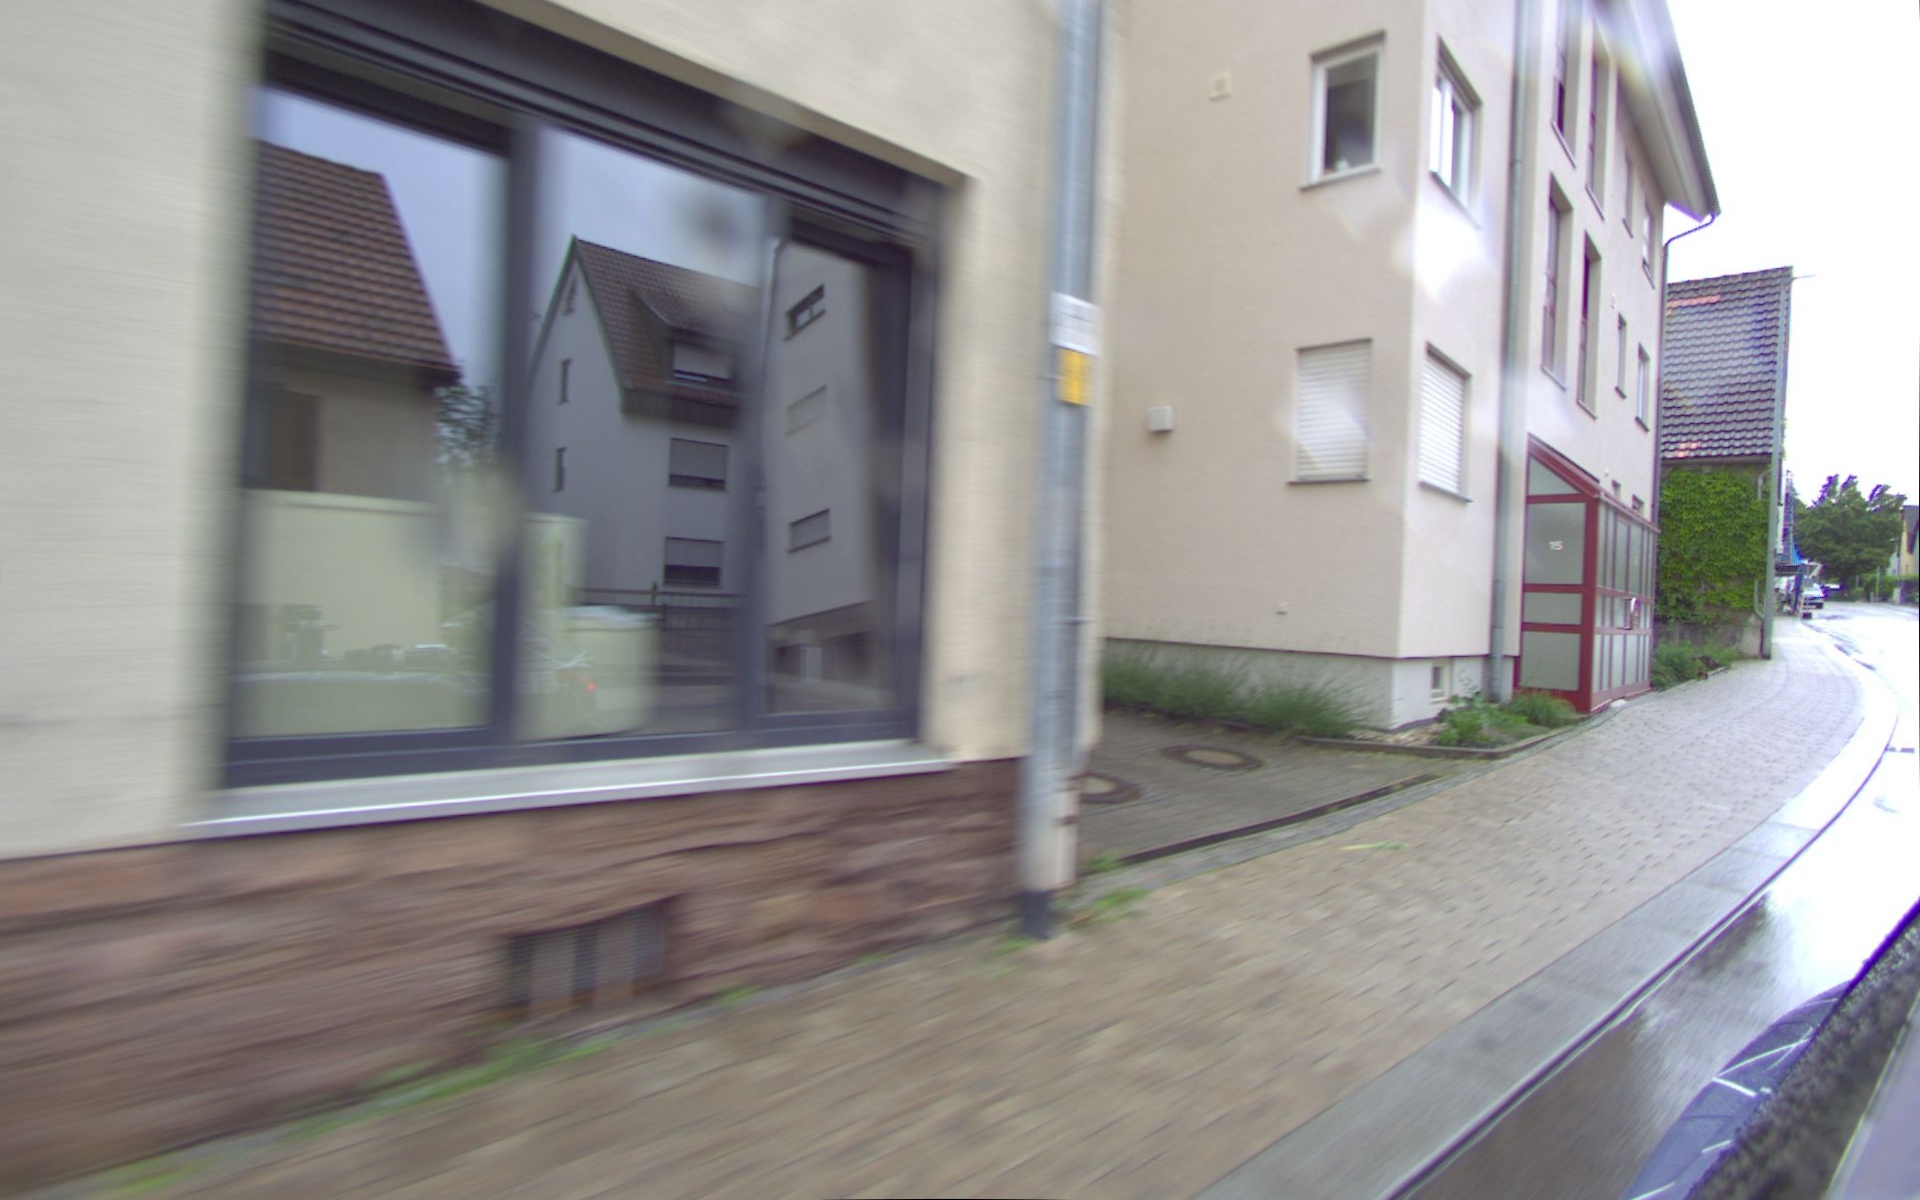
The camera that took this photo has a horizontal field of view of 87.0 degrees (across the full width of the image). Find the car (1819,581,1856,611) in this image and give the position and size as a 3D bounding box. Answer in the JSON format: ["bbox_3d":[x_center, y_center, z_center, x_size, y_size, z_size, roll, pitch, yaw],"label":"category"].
[{"bbox_3d":[63.556,-0.315,73.339,1.821,1.999,4.453,3,3,39],"label":"car"}]

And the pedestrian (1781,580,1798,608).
[{"bbox_3d":[48.074,-0.349,58.662,0.653,1.600,0.430,4,3,40],"label":"pedestrian"}]

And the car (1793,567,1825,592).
[{"bbox_3d":[72.161,-1.750,86.072,1.700,2.128,3.891,1,1,35],"label":"car"}]
